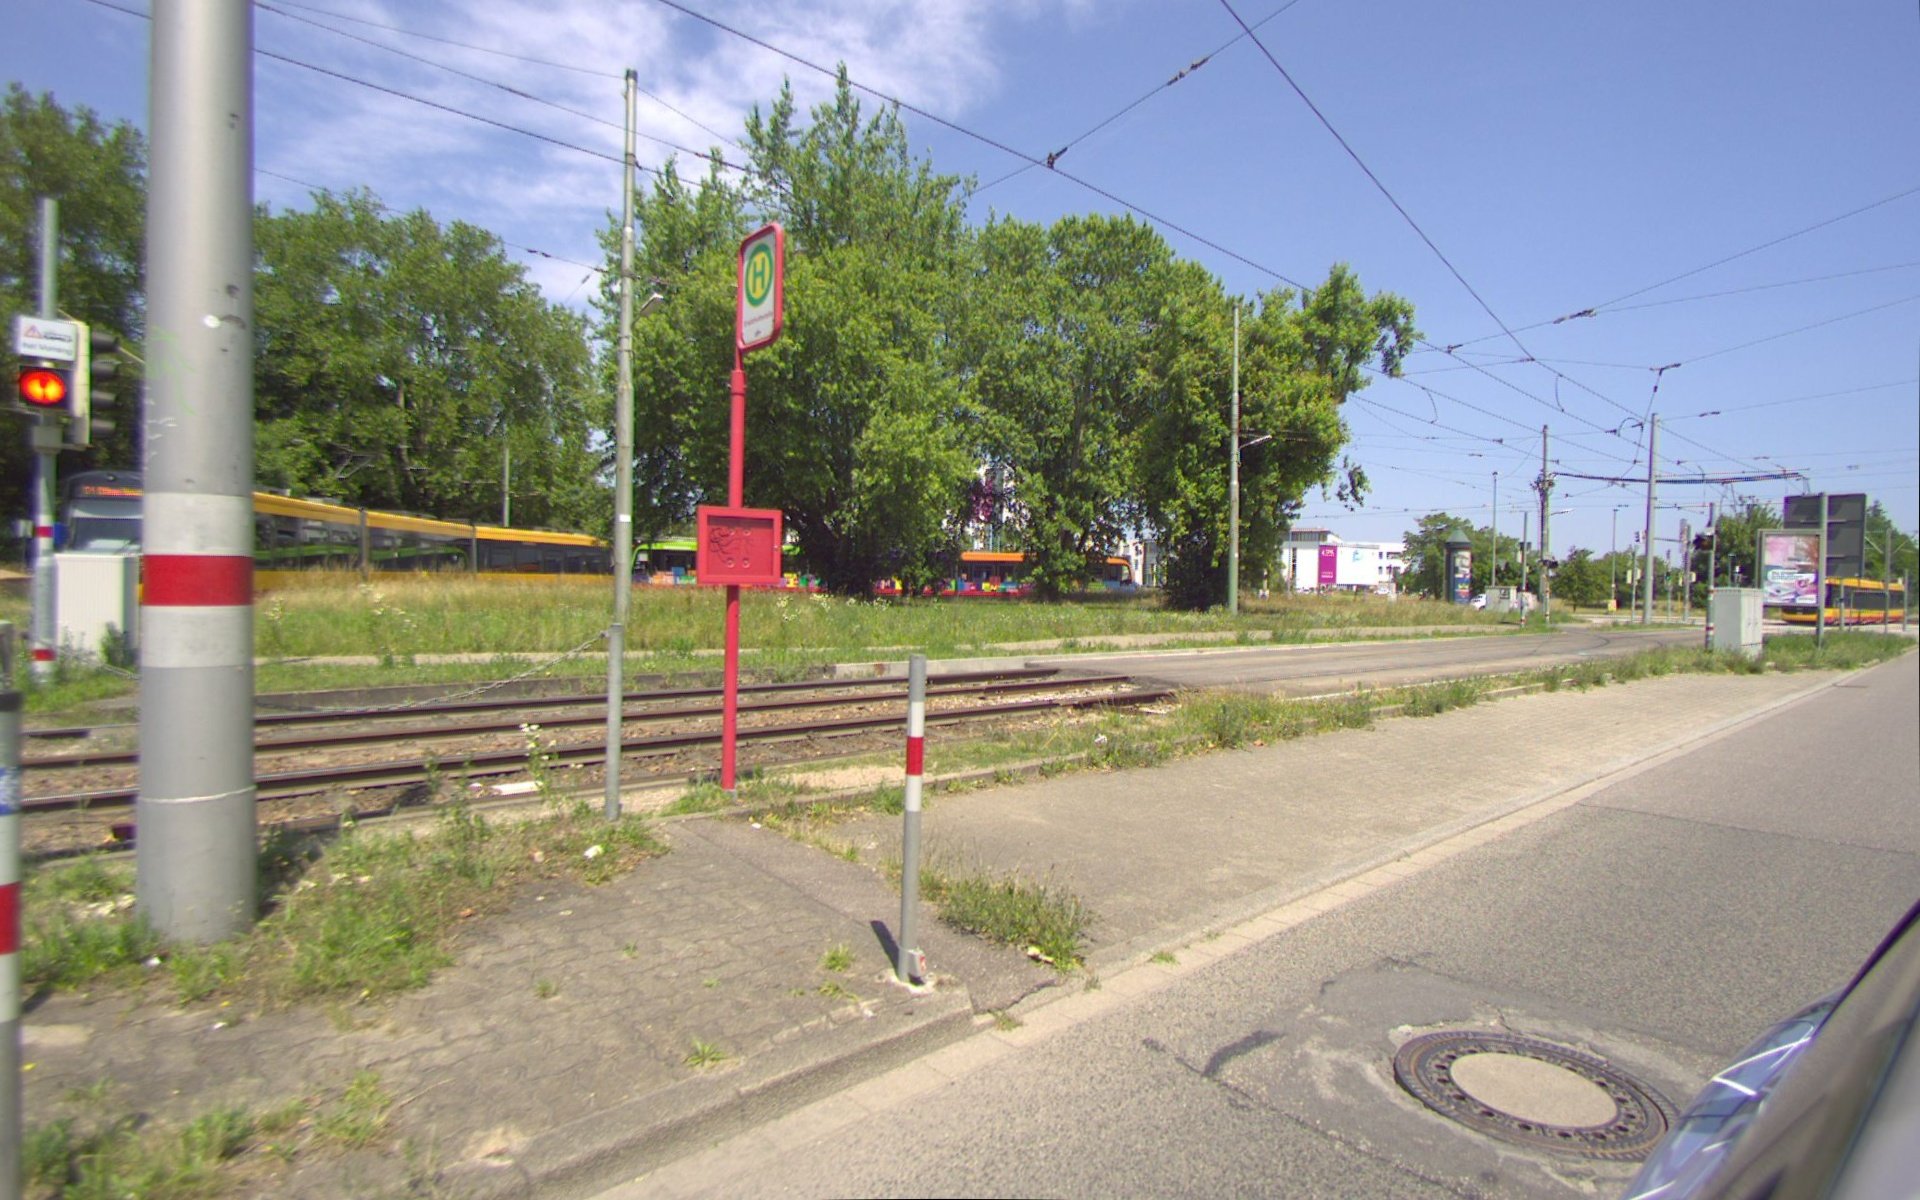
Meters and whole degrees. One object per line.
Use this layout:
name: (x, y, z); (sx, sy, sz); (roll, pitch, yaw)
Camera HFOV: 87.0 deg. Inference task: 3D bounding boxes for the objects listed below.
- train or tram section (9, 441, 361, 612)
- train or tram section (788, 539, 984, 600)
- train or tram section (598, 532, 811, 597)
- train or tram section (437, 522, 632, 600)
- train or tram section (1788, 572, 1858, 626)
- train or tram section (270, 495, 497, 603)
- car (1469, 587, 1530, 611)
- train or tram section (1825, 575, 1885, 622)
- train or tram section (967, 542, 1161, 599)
train or tram section: (-20.670, -1.647, 28.513); (2.659, 3.695, 13.211); (0, 0, -13)
train or tram section: (-5.036, -2.047, 69.309); (12.972, 3.694, 2.722); (1, 1, -14)
train or tram section: (-15.734, -2.102, 63.630); (13.013, 3.664, 2.713); (1, 1, -39)
train or tram section: (-22.002, -1.949, 53.772); (2.673, 3.618, 13.211); (2, 1, 11)
train or tram section: (57.032, -0.082, 66.831); (7.135, 3.364, 2.522); (0, 2, -42)
train or tram section: (-22.823, -1.814, 41.369); (2.662, 3.695, 13.264); (0, 0, -5)
car: (38.639, -0.093, 72.505); (3.917, 1.638, 1.857); (0, 0, -23)
train or tram section: (67.612, -0.109, 76.424); (7.135, 3.364, 2.522); (0, 2, -42)
train or tram section: (7.129, -1.969, 69.532); (13.038, 3.695, 2.708); (0, 0, 11)
